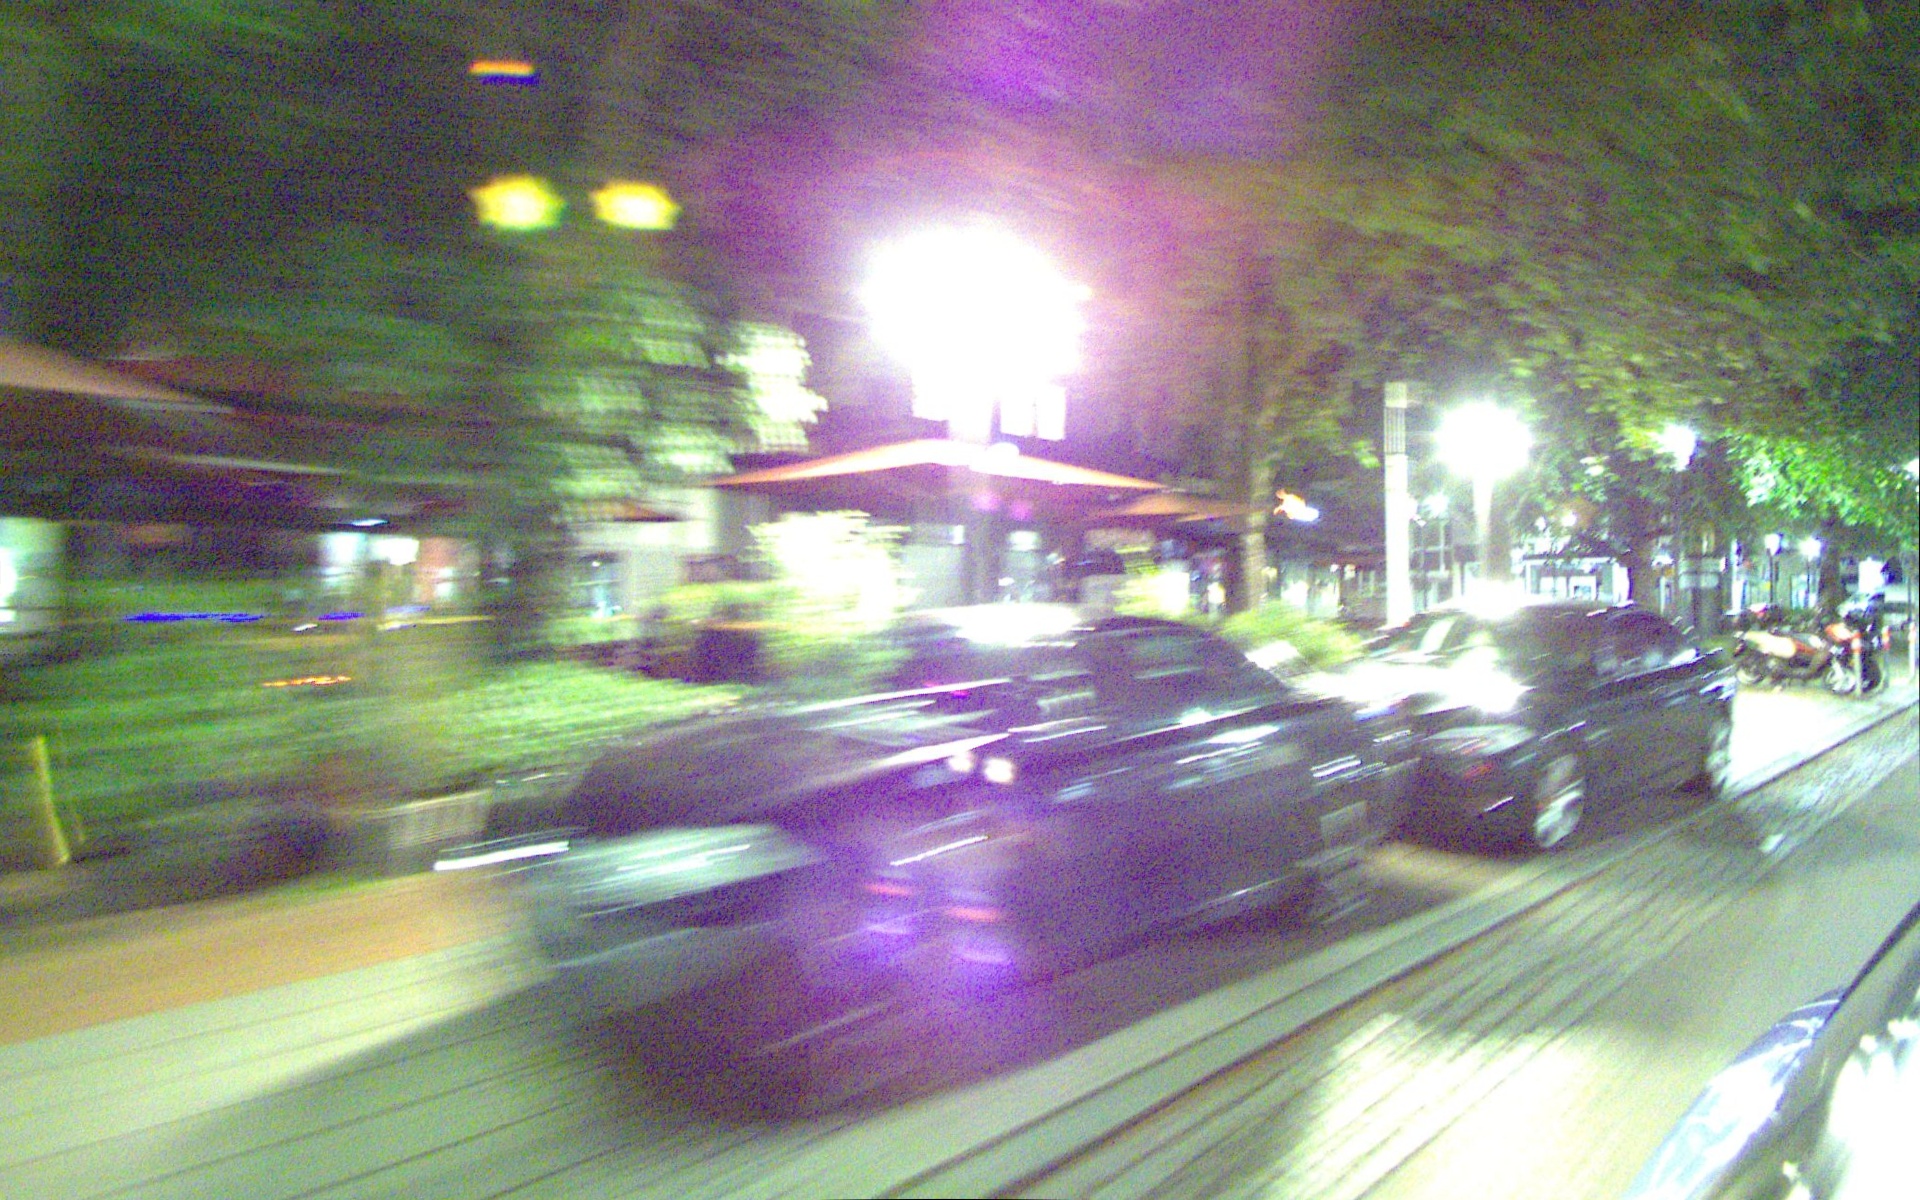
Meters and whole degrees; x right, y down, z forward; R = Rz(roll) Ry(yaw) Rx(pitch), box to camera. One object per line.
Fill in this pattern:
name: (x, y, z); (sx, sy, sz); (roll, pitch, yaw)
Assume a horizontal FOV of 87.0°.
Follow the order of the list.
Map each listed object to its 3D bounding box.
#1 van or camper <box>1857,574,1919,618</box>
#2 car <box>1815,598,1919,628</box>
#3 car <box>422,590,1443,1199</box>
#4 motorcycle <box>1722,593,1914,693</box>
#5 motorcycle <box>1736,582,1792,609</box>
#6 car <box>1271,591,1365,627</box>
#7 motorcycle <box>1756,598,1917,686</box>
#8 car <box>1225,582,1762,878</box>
van or camper: (56.937, -0.221, 59.425); (5.971, 2.565, 2.150); (0, 0, 18)
car: (45.987, 0.633, 50.746); (4.479, 1.474, 1.630); (0, 0, 14)
car: (0.181, 0.687, 4.191); (4.029, 1.394, 1.665); (0, 2, -38)
motorcycle: (13.147, 0.612, 15.617); (0.647, 1.409, 2.276); (0, 1, -16)
motorcycle: (39.818, -0.224, 50.122); (2.183, 1.287, 0.531); (0, -1, 6)
car: (17.653, 0.431, 50.046); (1.868, 1.610, 3.992); (2, 0, -42)
motorcycle: (14.102, 0.632, 16.370); (0.505, 1.314, 2.174); (0, 1, -7)
car: (3.987, 0.650, 7.233); (4.385, 1.482, 1.758); (0, 2, -38)
